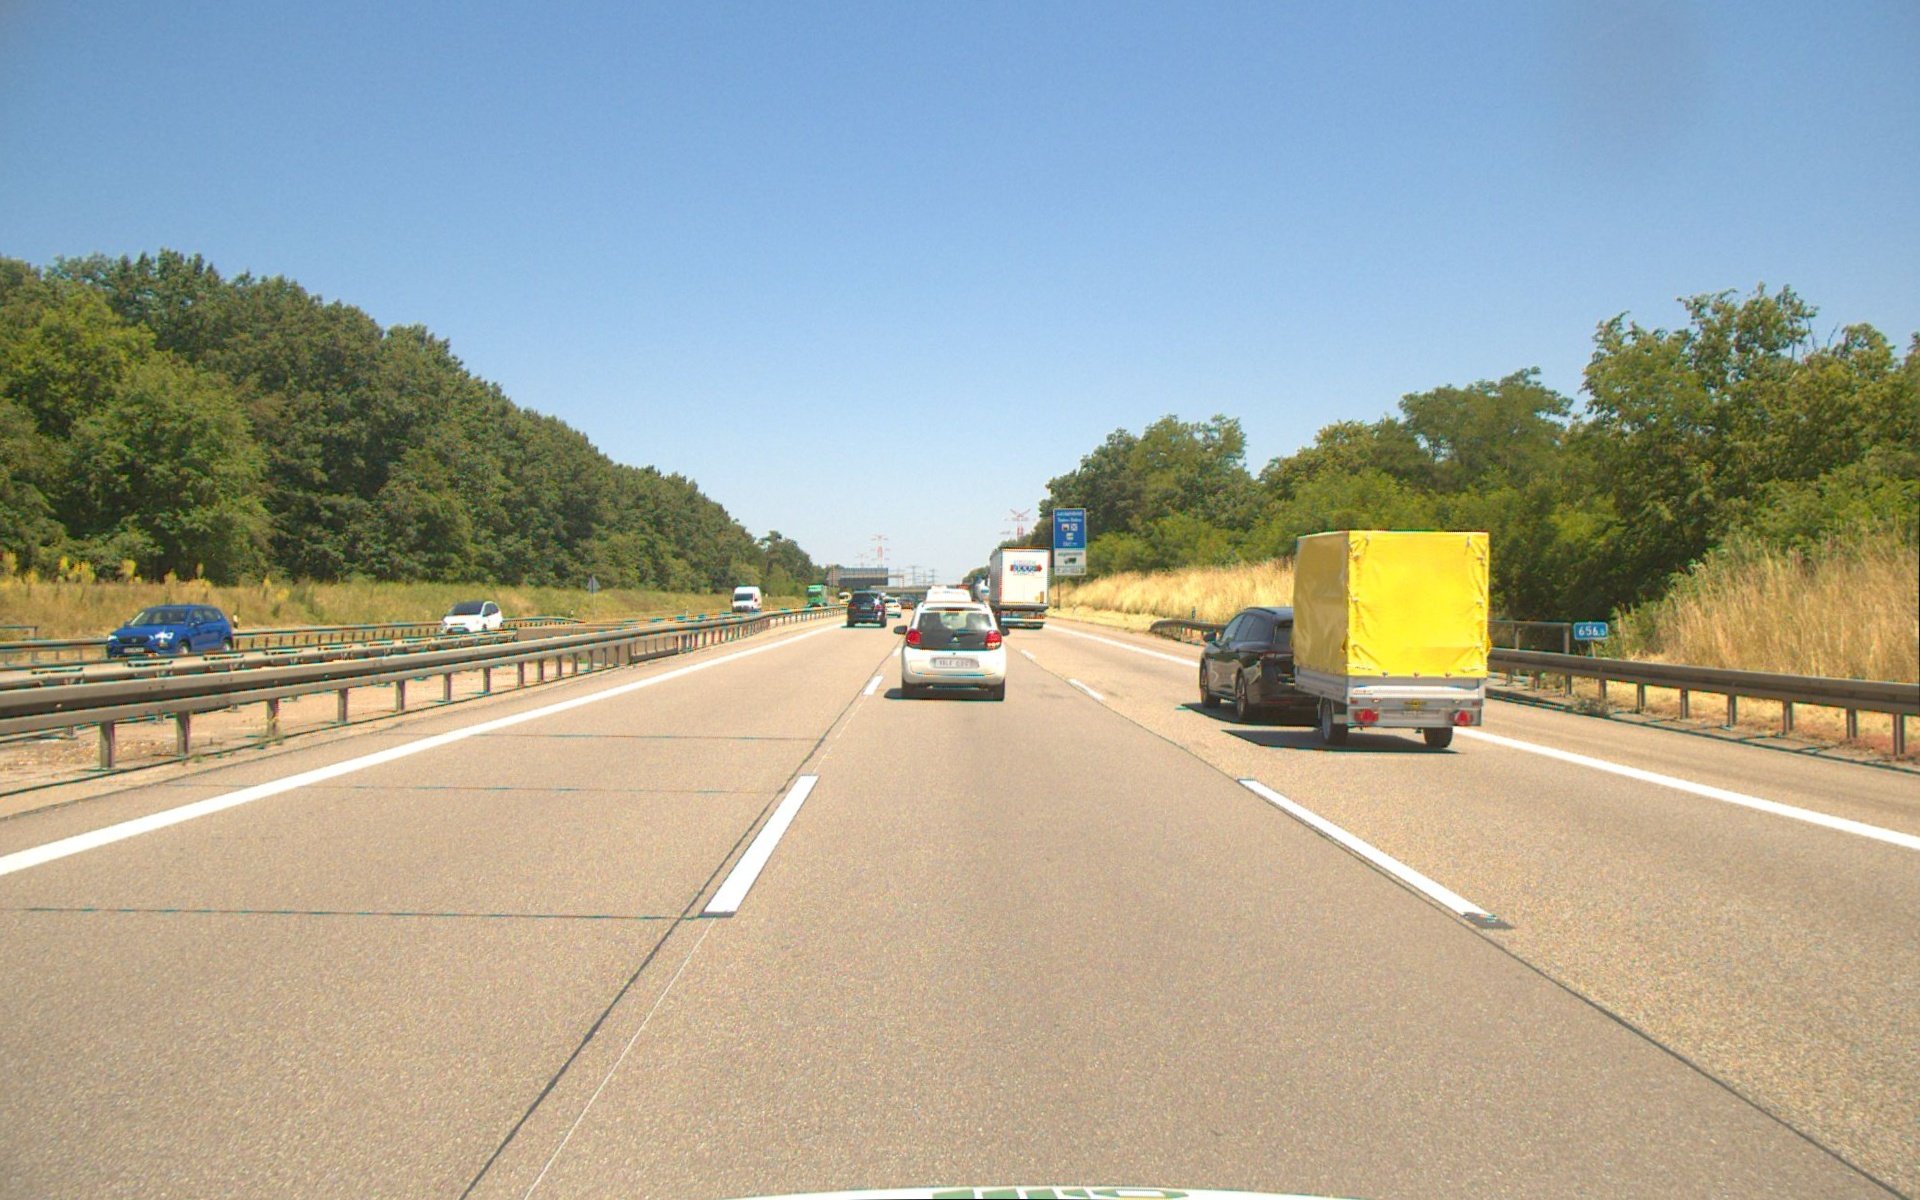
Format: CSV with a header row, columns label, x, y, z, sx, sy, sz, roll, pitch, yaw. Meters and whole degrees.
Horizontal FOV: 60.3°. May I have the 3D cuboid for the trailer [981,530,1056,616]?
label,x,y,z,sx,sy,sz,roll,pitch,yaw
trailer,3.027,-1.341,90.171,3.219,4.293,13.560,1,0,-1

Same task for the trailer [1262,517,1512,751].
label,x,y,z,sx,sy,sz,roll,pitch,yaw
trailer,4.647,0.346,18.541,1.669,2.329,3.838,1,0,-2

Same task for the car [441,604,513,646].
label,x,y,z,sx,sy,sz,roll,pitch,yaw
car,-21.276,1.074,73.023,1.667,1.690,5.115,-3,0,-1

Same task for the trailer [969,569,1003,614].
label,x,y,z,sx,sy,sz,roll,pitch,yaw
trailer,2.323,-0.747,153.266,2.628,3.904,12.006,1,0,-1

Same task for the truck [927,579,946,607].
label,x,y,z,sx,sy,sz,roll,pitch,yaw
truck,-2.543,-0.763,179.461,2.018,2.965,7.001,0,0,-1

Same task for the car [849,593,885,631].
label,x,y,z,sx,sy,sz,roll,pitch,yaw
car,-4.572,0.569,81.708,1.593,1.785,3.804,1,0,-1

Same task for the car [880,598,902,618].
label,x,y,z,sx,sy,sz,roll,pitch,yaw
car,-5.087,0.564,122.479,1.635,1.426,3.711,0,0,-2

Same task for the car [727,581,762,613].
label,x,y,z,sx,sy,sz,roll,pitch,yaw
car,-18.838,-0.289,144.946,2.121,2.670,7.542,-3,0,-1

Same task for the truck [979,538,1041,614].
label,x,y,z,sx,sy,sz,roll,pitch,yaw
truck,2.881,-1.351,96.988,3.219,4.293,6.005,1,0,-1

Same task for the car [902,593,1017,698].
label,x,y,z,sx,sy,sz,roll,pitch,yaw
car,-0.034,0.671,26.367,1.673,1.521,4.023,1,0,-1

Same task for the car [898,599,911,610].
label,x,y,z,sx,sy,sz,roll,pitch,yaw
car,-6.984,0.527,208.771,1.574,1.323,3.673,1,0,-1

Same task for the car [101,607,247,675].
label,x,y,z,sx,sy,sz,roll,pitch,yaw
car,-20.526,1.022,43.424,1.667,1.572,4.534,-3,0,-1

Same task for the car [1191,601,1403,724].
label,x,y,z,sx,sy,sz,roll,pitch,yaw
car,4.512,0.777,22.869,1.784,1.481,4.786,1,0,-2

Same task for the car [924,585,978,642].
label,x,y,z,sx,sy,sz,roll,pitch,yaw
car,-0.357,0.455,57.133,1.777,1.859,5.109,0,0,-1
